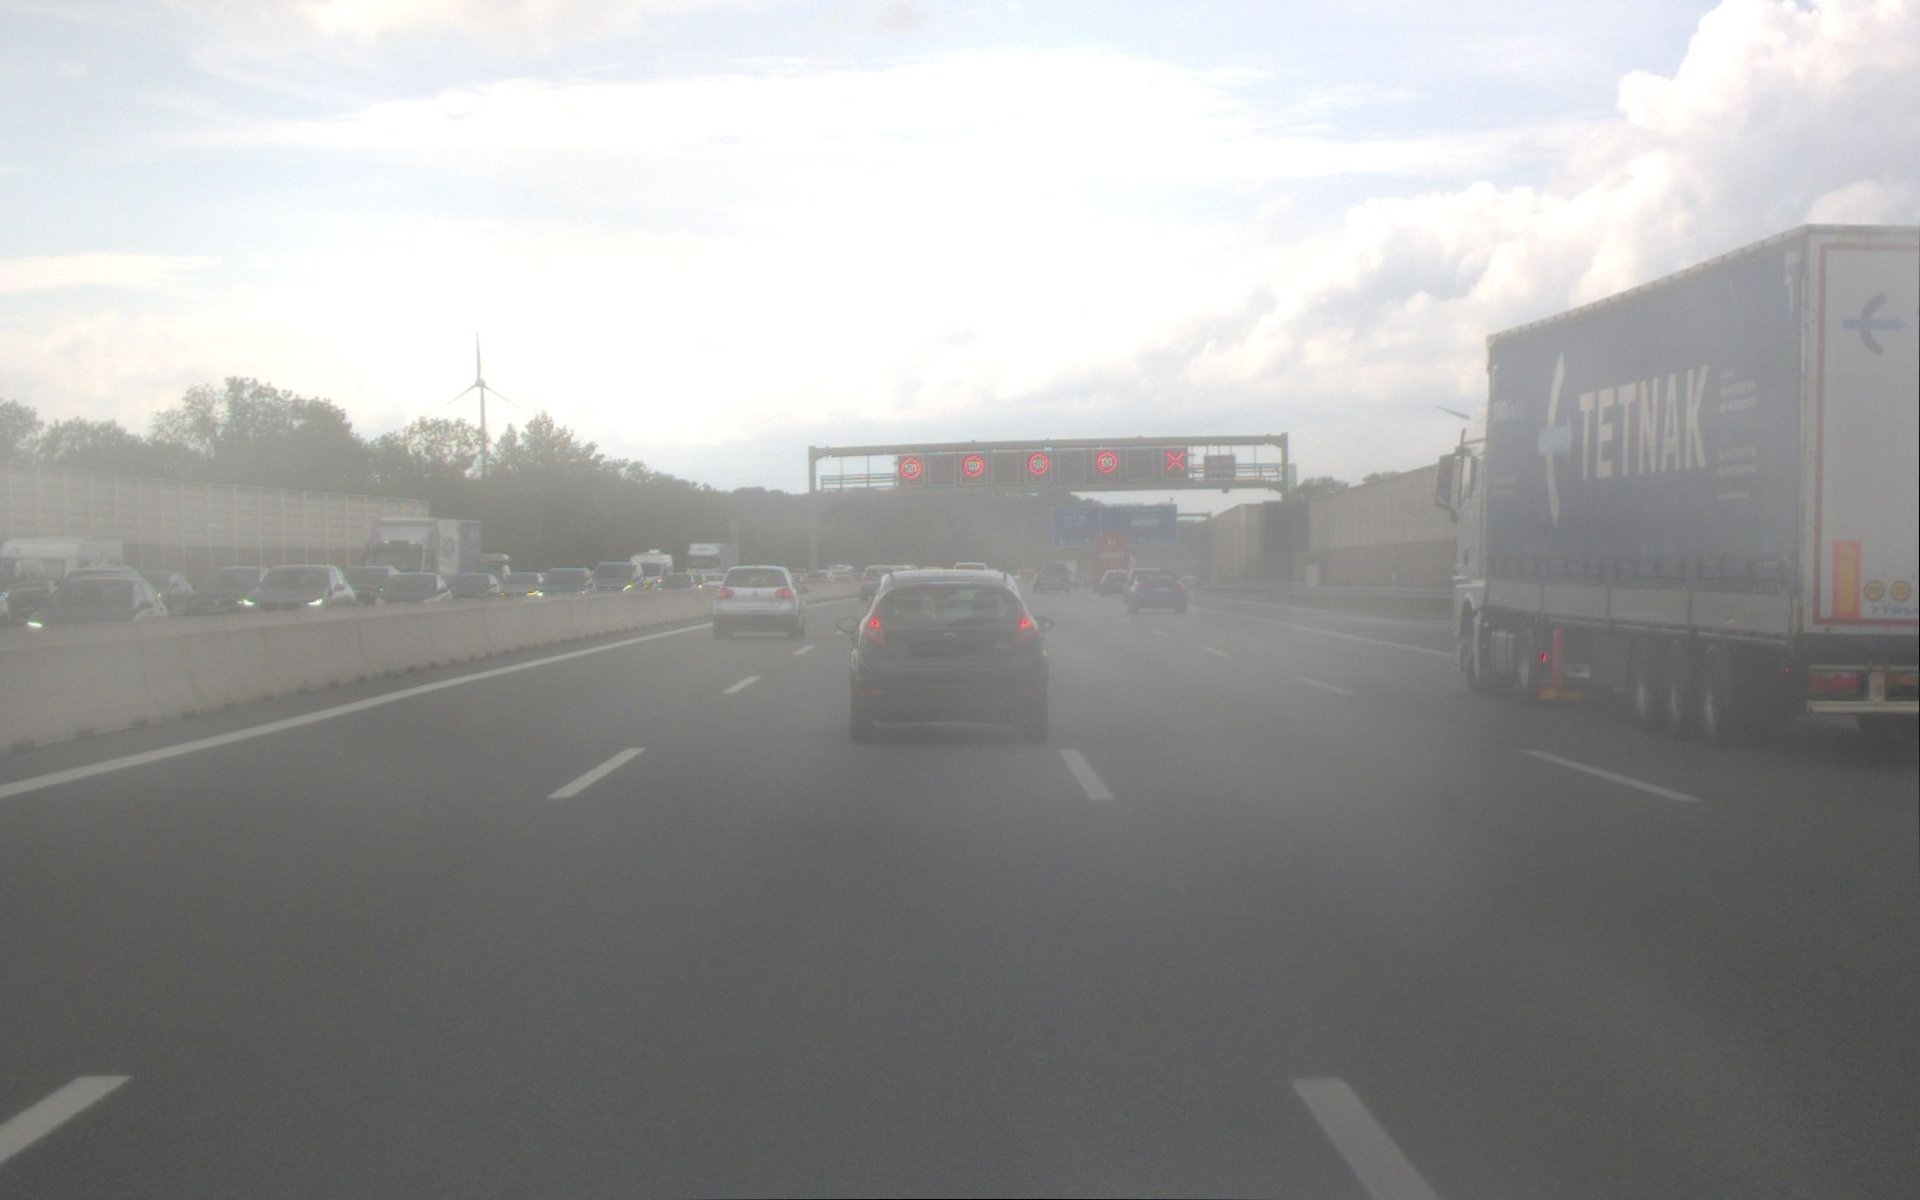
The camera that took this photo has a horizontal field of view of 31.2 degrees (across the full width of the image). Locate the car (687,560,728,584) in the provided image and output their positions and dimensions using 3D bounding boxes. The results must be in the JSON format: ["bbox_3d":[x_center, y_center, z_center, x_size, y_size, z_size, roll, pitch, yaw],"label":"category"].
[{"bbox_3d":[-16.157,-1.802,220.395,2.060,1.486,4.997,0,0,2],"label":"car"}]

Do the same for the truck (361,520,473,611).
[{"bbox_3d":[-21.946,-1.417,139.553,2.696,3.515,9.995,1,1,1],"label":"truck"}]

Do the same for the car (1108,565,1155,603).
[{"bbox_3d":[7.316,-0.685,147.088,1.882,1.537,4.433,-1,0,2],"label":"car"}]

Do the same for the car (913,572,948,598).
[{"bbox_3d":[-1.862,-0.954,216.727,1.968,1.555,4.432,-1,0,2],"label":"car"}]

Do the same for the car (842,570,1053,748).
[{"bbox_3d":[-0.158,0.458,30.115,1.717,1.412,4.279,0,1,-2],"label":"car"}]

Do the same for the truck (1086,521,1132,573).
[{"bbox_3d":[10.673,-3.743,246.948,3.152,3.589,12.698,1,1,2],"label":"truck"}]

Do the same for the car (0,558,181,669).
[{"bbox_3d":[-15.026,0.197,59.576,2.061,1.810,4.779,0,1,-2],"label":"car"}]

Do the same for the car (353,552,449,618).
[{"bbox_3d":[-14.806,-0.410,91.247,1.955,1.694,4.411,0,1,-2],"label":"car"}]

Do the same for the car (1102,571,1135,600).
[{"bbox_3d":[9.018,-0.824,195.824,1.883,1.555,4.432,-1,0,2],"label":"car"}]

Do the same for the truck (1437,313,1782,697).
[{"bbox_3d":[7.204,-1.021,38.906,2.744,4.021,5.726,0,1,-1],"label":"truck"}]

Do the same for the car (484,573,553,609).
[{"bbox_3d":[-18.465,-0.374,143.986,2.060,1.486,4.997,0,0,2],"label":"car"}]

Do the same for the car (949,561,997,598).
[{"bbox_3d":[0.589,-0.883,151.769,1.968,1.555,4.432,-1,0,2],"label":"car"}]

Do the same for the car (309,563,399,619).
[{"bbox_3d":[-18.958,-0.309,107.710,2.061,1.694,5.089,0,1,-2],"label":"car"}]

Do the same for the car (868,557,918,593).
[{"bbox_3d":[-3.057,-1.128,157.386,1.968,1.555,4.432,-1,0,2],"label":"car"}]

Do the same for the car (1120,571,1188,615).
[{"bbox_3d":[6.384,-0.236,113.382,1.950,1.413,4.232,0,0,0],"label":"car"}]

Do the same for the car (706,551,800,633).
[{"bbox_3d":[-4.220,-0.197,70.636,1.717,1.618,4.279,0,1,-1],"label":"car"}]

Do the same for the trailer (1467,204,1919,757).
[{"bbox_3d":[7.300,-0.943,32.230,2.761,4.018,14.454,0,1,-1],"label":"trailer"}]

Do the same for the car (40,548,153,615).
[{"bbox_3d":[-22.560,-0.509,89.938,1.955,1.694,4.411,0,1,-2],"label":"car"}]

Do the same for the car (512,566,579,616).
[{"bbox_3d":[-14.592,-0.340,121.241,1.873,1.694,4.222,0,1,-1],"label":"car"}]

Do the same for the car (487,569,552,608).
[{"bbox_3d":[-18.397,-0.480,143.845,2.060,1.594,4.997,0,0,0],"label":"car"}]

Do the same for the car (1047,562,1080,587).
[{"bbox_3d":[6.675,-1.646,222.083,1.968,1.555,4.432,-1,0,3],"label":"car"}]

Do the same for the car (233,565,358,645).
[{"bbox_3d":[-14.742,0.088,76.507,1.955,1.694,4.893,0,1,-2],"label":"car"}]

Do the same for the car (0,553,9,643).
[{"bbox_3d":[-19.007,-0.013,63.153,1.955,1.694,4.411,0,1,-2],"label":"car"}]

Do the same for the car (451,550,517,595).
[{"bbox_3d":[-18.084,-1.060,130.737,1.873,1.694,5.016,0,1,-1],"label":"car"}]

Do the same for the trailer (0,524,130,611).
[{"bbox_3d":[-26.622,-0.986,102.039,2.459,2.487,6.085,0,1,0],"label":"trailer"}]
